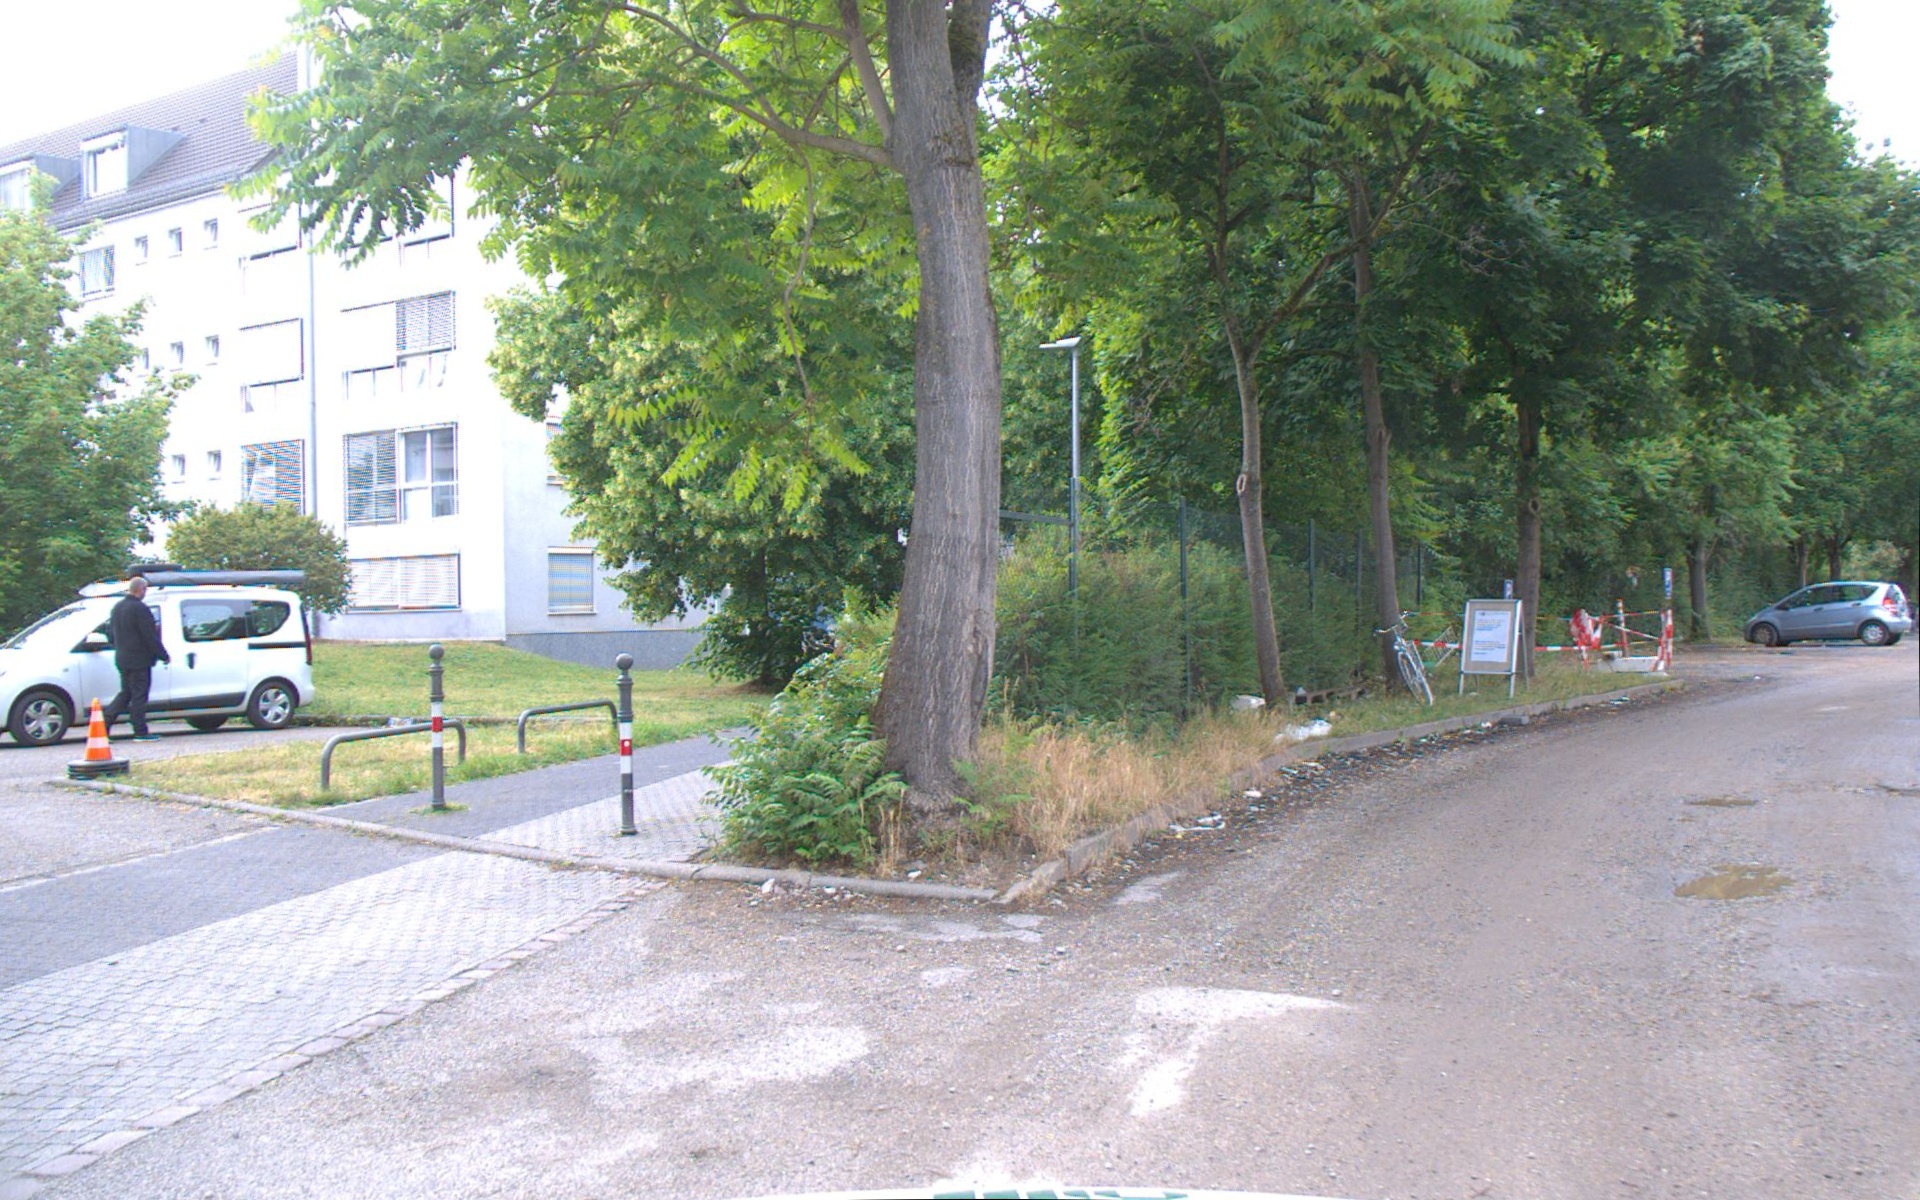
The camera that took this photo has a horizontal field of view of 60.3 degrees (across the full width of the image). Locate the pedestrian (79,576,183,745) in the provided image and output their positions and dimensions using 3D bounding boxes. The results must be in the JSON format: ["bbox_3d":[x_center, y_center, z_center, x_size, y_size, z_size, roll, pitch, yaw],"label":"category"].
[{"bbox_3d":[-9.258,0.668,18.474,0.684,1.840,0.754,-3,-1,34],"label":"pedestrian"}]

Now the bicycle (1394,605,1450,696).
[{"bbox_3d":[5.145,0.545,18.373,0.410,0.921,1.154,5,2,21],"label":"bicycle"}]

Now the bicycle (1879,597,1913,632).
[{"bbox_3d":[28.278,0.431,49.978,0.756,0.995,2.029,-1,0,26],"label":"bicycle"}]

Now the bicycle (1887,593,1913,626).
[{"bbox_3d":[29.558,0.285,52.029,0.577,0.995,2.029,-1,0,26],"label":"bicycle"}]

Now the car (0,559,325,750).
[{"bbox_3d":[-10.050,0.607,19.771,1.816,2.049,4.338,-2,-1,34],"label":"car"}]

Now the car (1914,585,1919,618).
[{"bbox_3d":[45.803,0.042,75.020,3.902,1.534,2.002,-1,0,8],"label":"car"}]

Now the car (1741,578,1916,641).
[{"bbox_3d":[22.143,0.239,42.216,3.644,1.527,1.857,-1,0,41],"label":"car"}]
